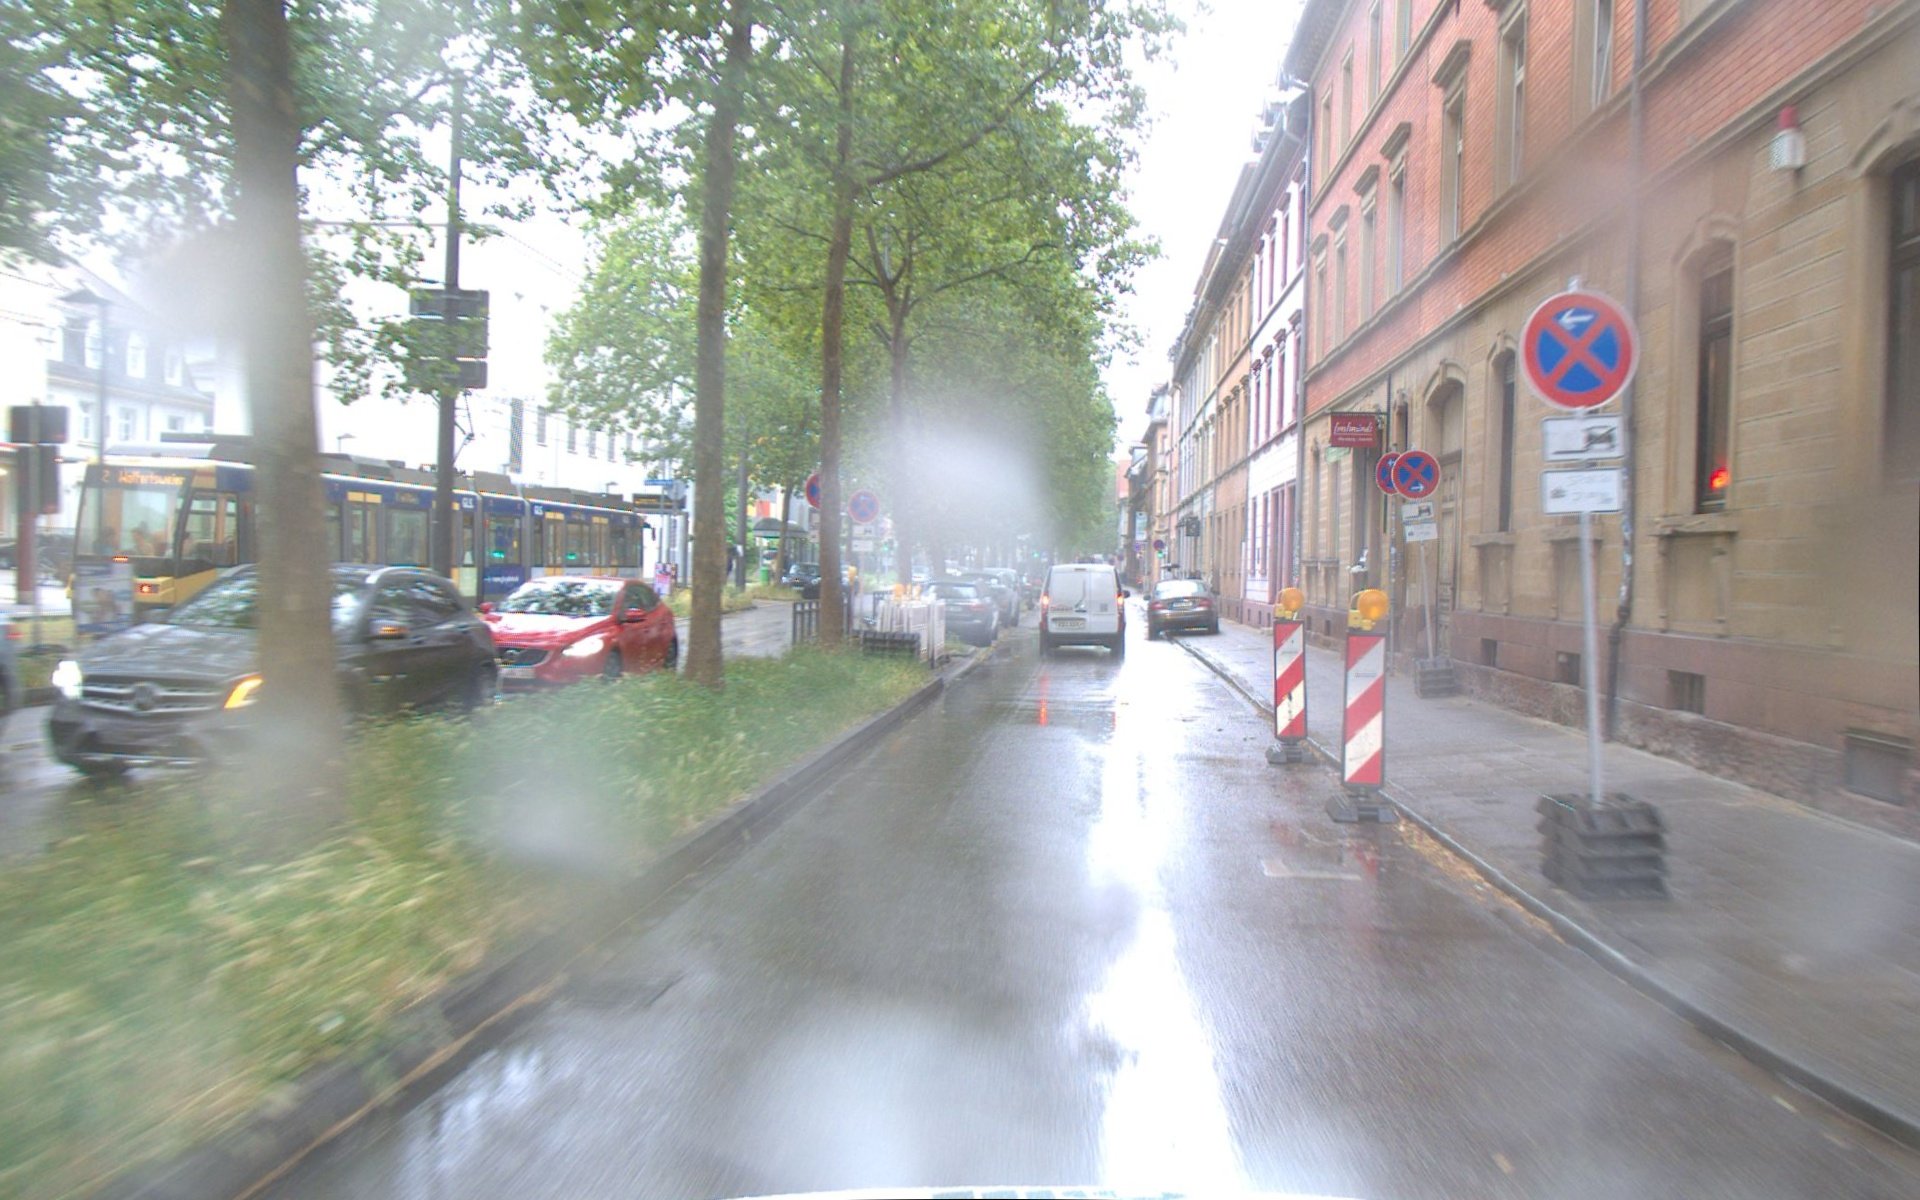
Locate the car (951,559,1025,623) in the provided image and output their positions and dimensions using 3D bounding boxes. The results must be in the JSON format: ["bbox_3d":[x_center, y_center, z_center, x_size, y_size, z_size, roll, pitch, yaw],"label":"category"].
[{"bbox_3d":[0.835,-0.272,46.201,1.662,1.664,4.358,1,1,6],"label":"car"}]

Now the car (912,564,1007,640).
[{"bbox_3d":[0.056,0.013,37.229,1.790,1.529,4.616,3,1,4],"label":"car"}]

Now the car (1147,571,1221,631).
[{"bbox_3d":[5.913,-0.017,43.838,1.775,1.445,4.701,-2,1,7],"label":"car"}]

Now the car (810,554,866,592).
[{"bbox_3d":[-5.525,-1.239,75.286,1.952,1.641,4.002,2,1,4],"label":"car"}]

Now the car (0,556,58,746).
[{"bbox_3d":[-8.215,0.393,11.174,1.705,1.422,4.133,2,1,5],"label":"car"}]

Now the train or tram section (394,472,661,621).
[{"bbox_3d":[-12.123,-1.400,48.581,3.041,3.620,14.683,1,1,4],"label":"train or tram section"}]

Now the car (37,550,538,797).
[{"bbox_3d":[-4.844,0.420,12.699,1.705,1.506,4.435,2,1,5],"label":"car"}]

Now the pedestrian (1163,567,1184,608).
[{"bbox_3d":[9.447,-0.557,73.313,0.822,1.746,1.108,-2,1,5],"label":"pedestrian"}]

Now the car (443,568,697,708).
[{"bbox_3d":[-4.498,0.361,19.747,1.705,1.422,4.236,2,1,4],"label":"car"}]

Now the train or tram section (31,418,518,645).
[{"bbox_3d":[-13.066,-1.175,34.082,3.041,3.620,14.586,1,1,4],"label":"train or tram section"}]

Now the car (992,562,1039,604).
[{"bbox_3d":[2.228,-0.684,65.372,1.614,1.526,4.121,3,1,4],"label":"car"}]

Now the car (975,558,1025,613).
[{"bbox_3d":[1.365,-0.517,56.119,1.590,1.710,3.661,2,2,2],"label":"car"}]

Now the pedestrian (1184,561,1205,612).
[{"bbox_3d":[8.046,-0.472,56.726,0.625,1.714,0.604,-1,1,3],"label":"pedestrian"}]

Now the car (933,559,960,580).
[{"bbox_3d":[-1.129,-2.546,137.052,1.954,1.608,3.997,2,1,-5],"label":"car"}]

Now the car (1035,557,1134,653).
[{"bbox_3d":[2.601,0.105,34.283,1.863,1.828,4.116,2,0,5],"label":"car"}]

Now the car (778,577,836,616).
[{"bbox_3d":[-6.125,-0.154,66.596,1.702,1.366,3.758,4,2,3],"label":"car"}]

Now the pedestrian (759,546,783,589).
[{"bbox_3d":[-7.670,-1.321,67.233,0.801,1.733,0.872,2,1,3],"label":"pedestrian"}]
